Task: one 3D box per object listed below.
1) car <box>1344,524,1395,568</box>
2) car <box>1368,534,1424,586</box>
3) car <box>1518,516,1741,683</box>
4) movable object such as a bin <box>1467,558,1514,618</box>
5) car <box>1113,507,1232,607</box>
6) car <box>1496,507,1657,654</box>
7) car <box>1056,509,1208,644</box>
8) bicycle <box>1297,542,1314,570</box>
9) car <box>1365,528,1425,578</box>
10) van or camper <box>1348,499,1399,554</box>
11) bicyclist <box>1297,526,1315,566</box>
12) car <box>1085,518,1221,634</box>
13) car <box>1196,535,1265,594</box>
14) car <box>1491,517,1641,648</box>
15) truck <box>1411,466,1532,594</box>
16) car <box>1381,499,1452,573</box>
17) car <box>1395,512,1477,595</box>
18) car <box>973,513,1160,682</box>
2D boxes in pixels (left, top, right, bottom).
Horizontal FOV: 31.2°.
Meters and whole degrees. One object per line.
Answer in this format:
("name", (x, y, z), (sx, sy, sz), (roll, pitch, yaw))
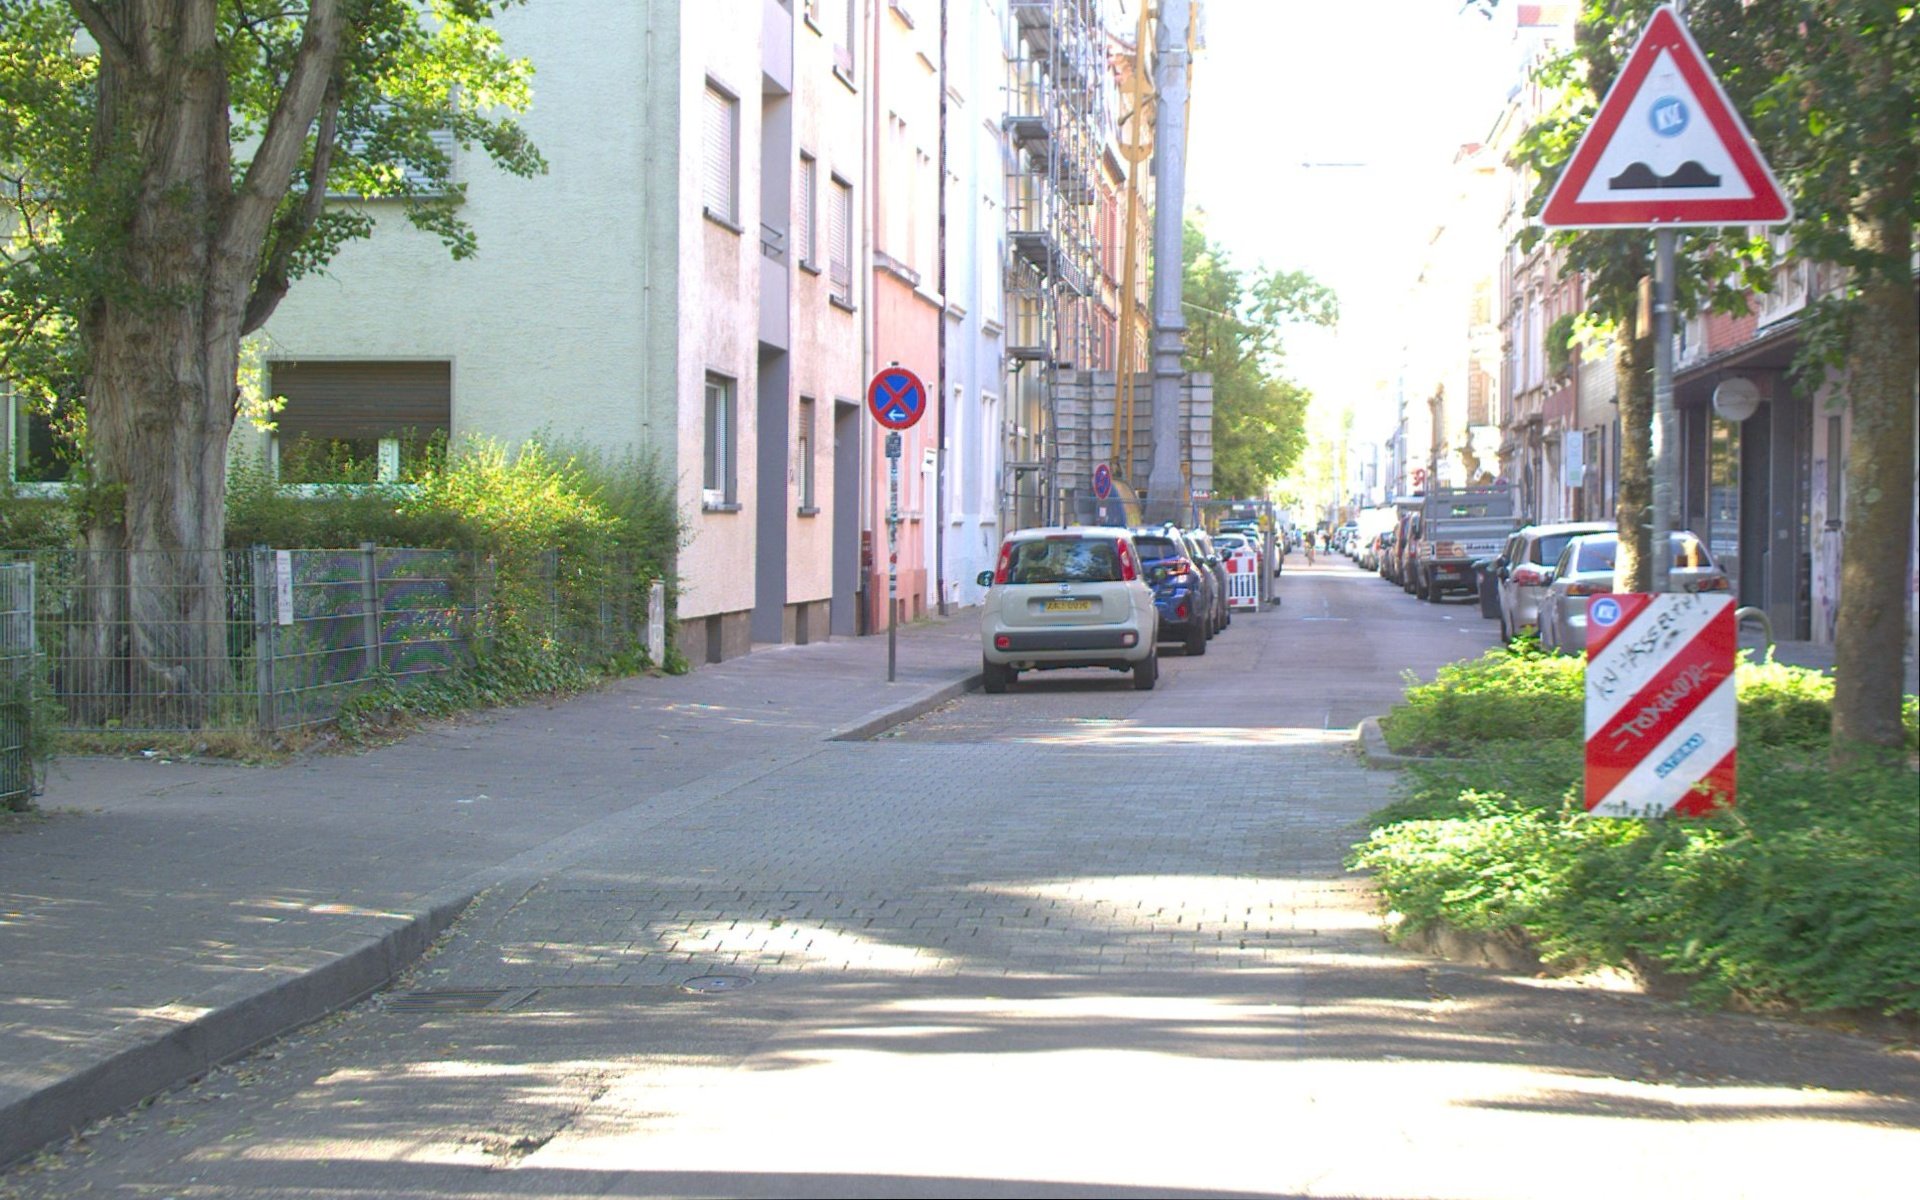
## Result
("car", (17.668, -2.329, 148.490), (1.994, 1.842, 3.999), (-1, 1, 5))
("car", (16.986, -1.583, 134.030), (1.994, 2.007, 4.000), (0, 1, 5))
("car", (6.663, -0.036, 34.605), (1.721, 1.557, 4.398), (0, 1, 5))
("movable object such as a bin", (9.458, -0.211, 61.263), (0.795, 1.052, 0.660), (0, 1, 6))
("car", (3.340, -0.667, 53.332), (1.675, 1.472, 4.607), (0, 1, 6))
("car", (7.257, -0.251, 40.740), (1.640, 1.650, 3.868), (0, 1, 7))
("car", (2.141, -0.298, 42.204), (1.729, 1.534, 4.377), (-1, 1, 4))
("bicycle", (15.196, -1.936, 151.203), (0.725, 1.182, 2.042), (1, 2, 6))
("car", (13.865, -1.496, 109.765), (1.675, 1.566, 3.869), (0, 1, 4))
("van or camper", (19.522, -3.467, 162.512), (1.993, 2.500, 4.202), (-1, 1, 2))
("bicyclist", (15.225, -2.391, 151.300), (0.730, 1.755, 0.835), (1, 2, 6))
("car", (2.704, -0.364, 47.408), (1.675, 1.506, 4.414), (-1, 1, 6))
("car", (6.751, -0.902, 86.111), (1.675, 1.440, 3.869), (0, 1, 4))
("car", (8.102, -0.250, 46.259), (1.747, 1.670, 4.339), (0, 1, 7))
("truck", (10.885, -1.482, 73.419), (2.190, 2.598, 5.233), (-1, 1, 5))
("car", (12.771, -1.775, 96.339), (1.675, 2.024, 3.869), (0, 1, 4))
("car", (11.603, -1.134, 83.911), (1.675, 1.956, 4.108), (0, 1, 4))
("car", (1.090, -0.048, 33.443), (1.675, 1.534, 3.869), (-1, 1, 4))
